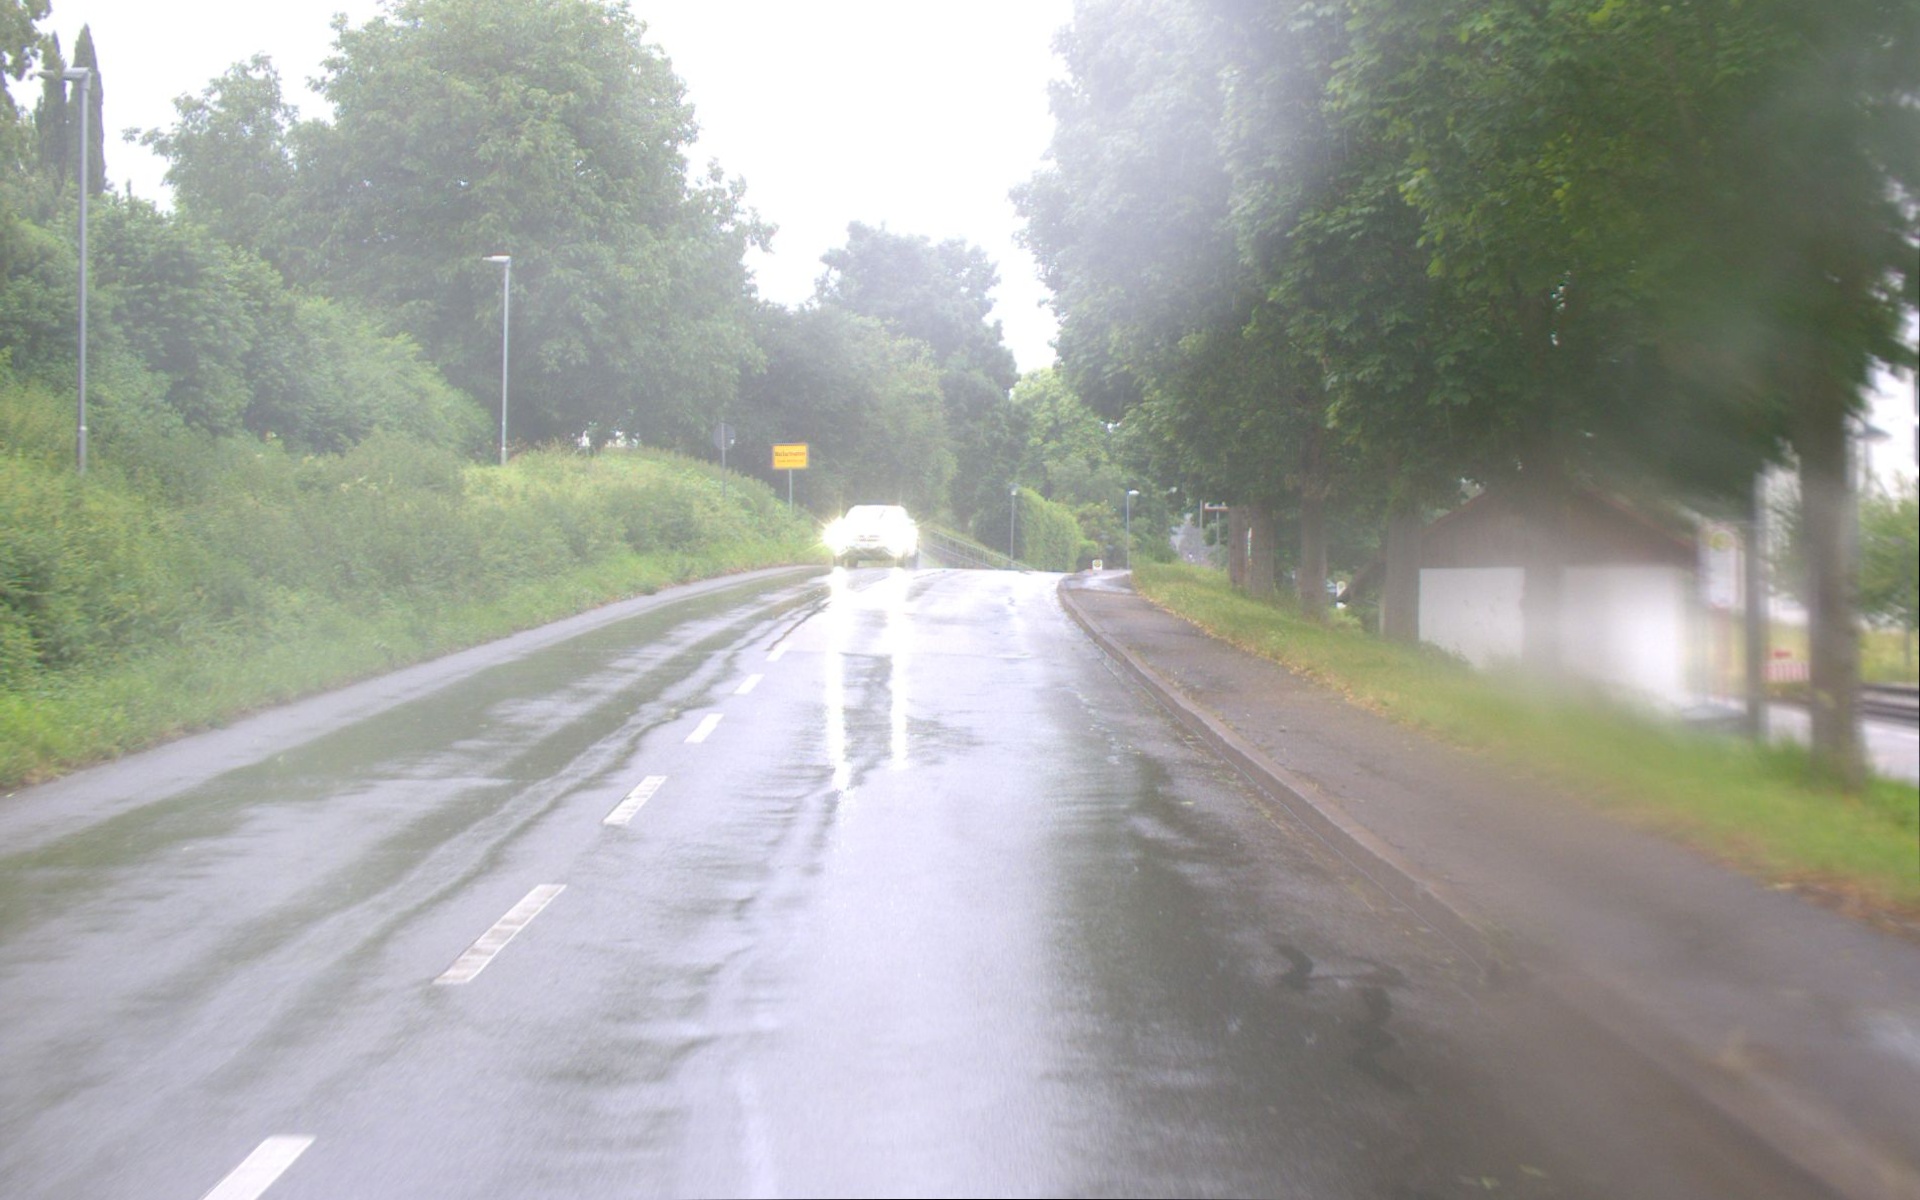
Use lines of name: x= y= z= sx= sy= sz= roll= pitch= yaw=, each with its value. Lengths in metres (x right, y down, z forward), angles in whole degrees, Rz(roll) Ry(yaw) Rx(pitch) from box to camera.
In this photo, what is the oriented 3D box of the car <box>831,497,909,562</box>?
car: x=-2.208 y=-1.774 z=85.430 sx=1.781 sy=1.499 sz=4.001 roll=0 pitch=3 yaw=1
